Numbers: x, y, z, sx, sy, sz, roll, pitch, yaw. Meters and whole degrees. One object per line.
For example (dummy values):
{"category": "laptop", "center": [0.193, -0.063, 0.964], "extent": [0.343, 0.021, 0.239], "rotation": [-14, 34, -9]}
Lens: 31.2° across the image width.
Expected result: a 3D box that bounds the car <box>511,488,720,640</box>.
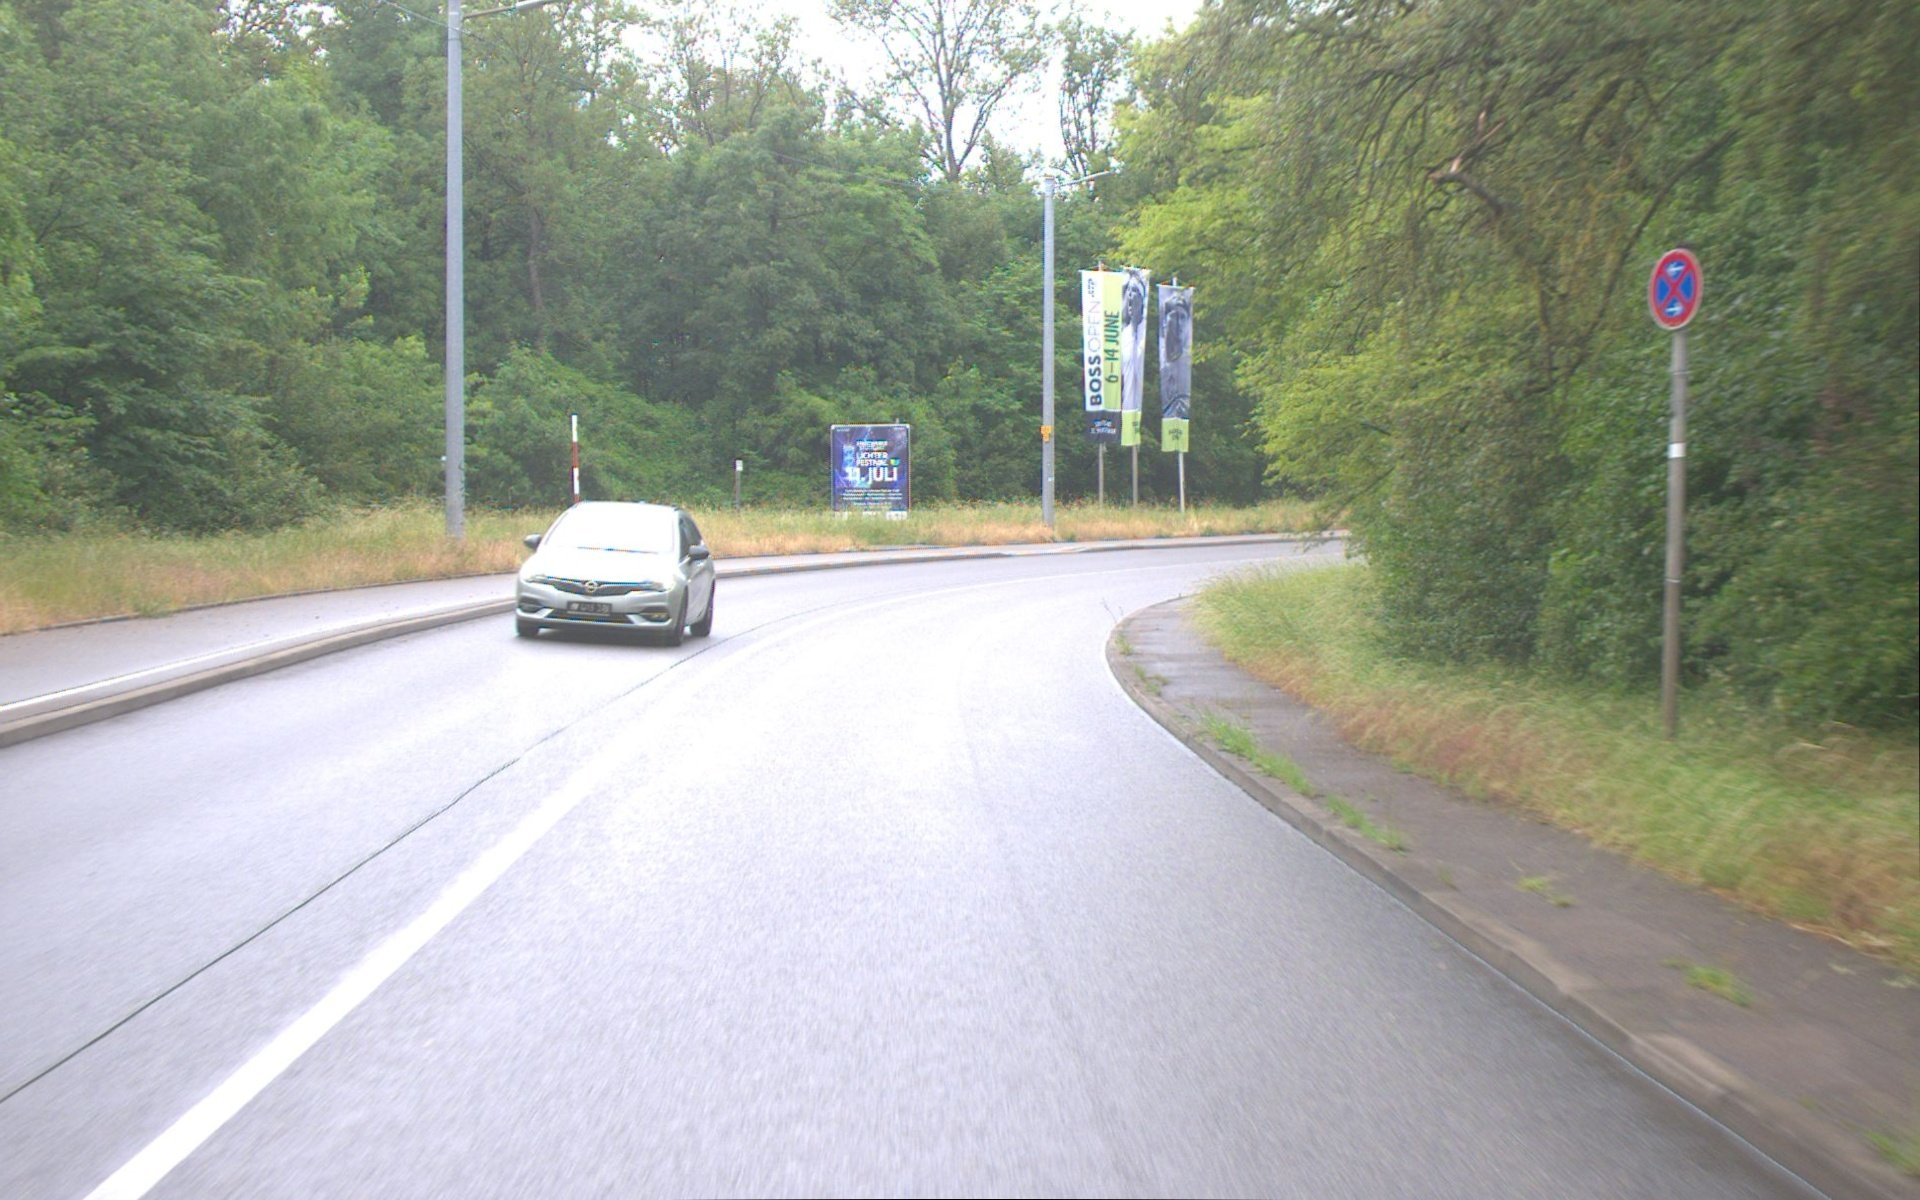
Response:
{"category": "car", "center": [-3.718, -0.440, 37.783], "extent": [1.780, 1.425, 4.475], "rotation": [3, 2, 0]}
